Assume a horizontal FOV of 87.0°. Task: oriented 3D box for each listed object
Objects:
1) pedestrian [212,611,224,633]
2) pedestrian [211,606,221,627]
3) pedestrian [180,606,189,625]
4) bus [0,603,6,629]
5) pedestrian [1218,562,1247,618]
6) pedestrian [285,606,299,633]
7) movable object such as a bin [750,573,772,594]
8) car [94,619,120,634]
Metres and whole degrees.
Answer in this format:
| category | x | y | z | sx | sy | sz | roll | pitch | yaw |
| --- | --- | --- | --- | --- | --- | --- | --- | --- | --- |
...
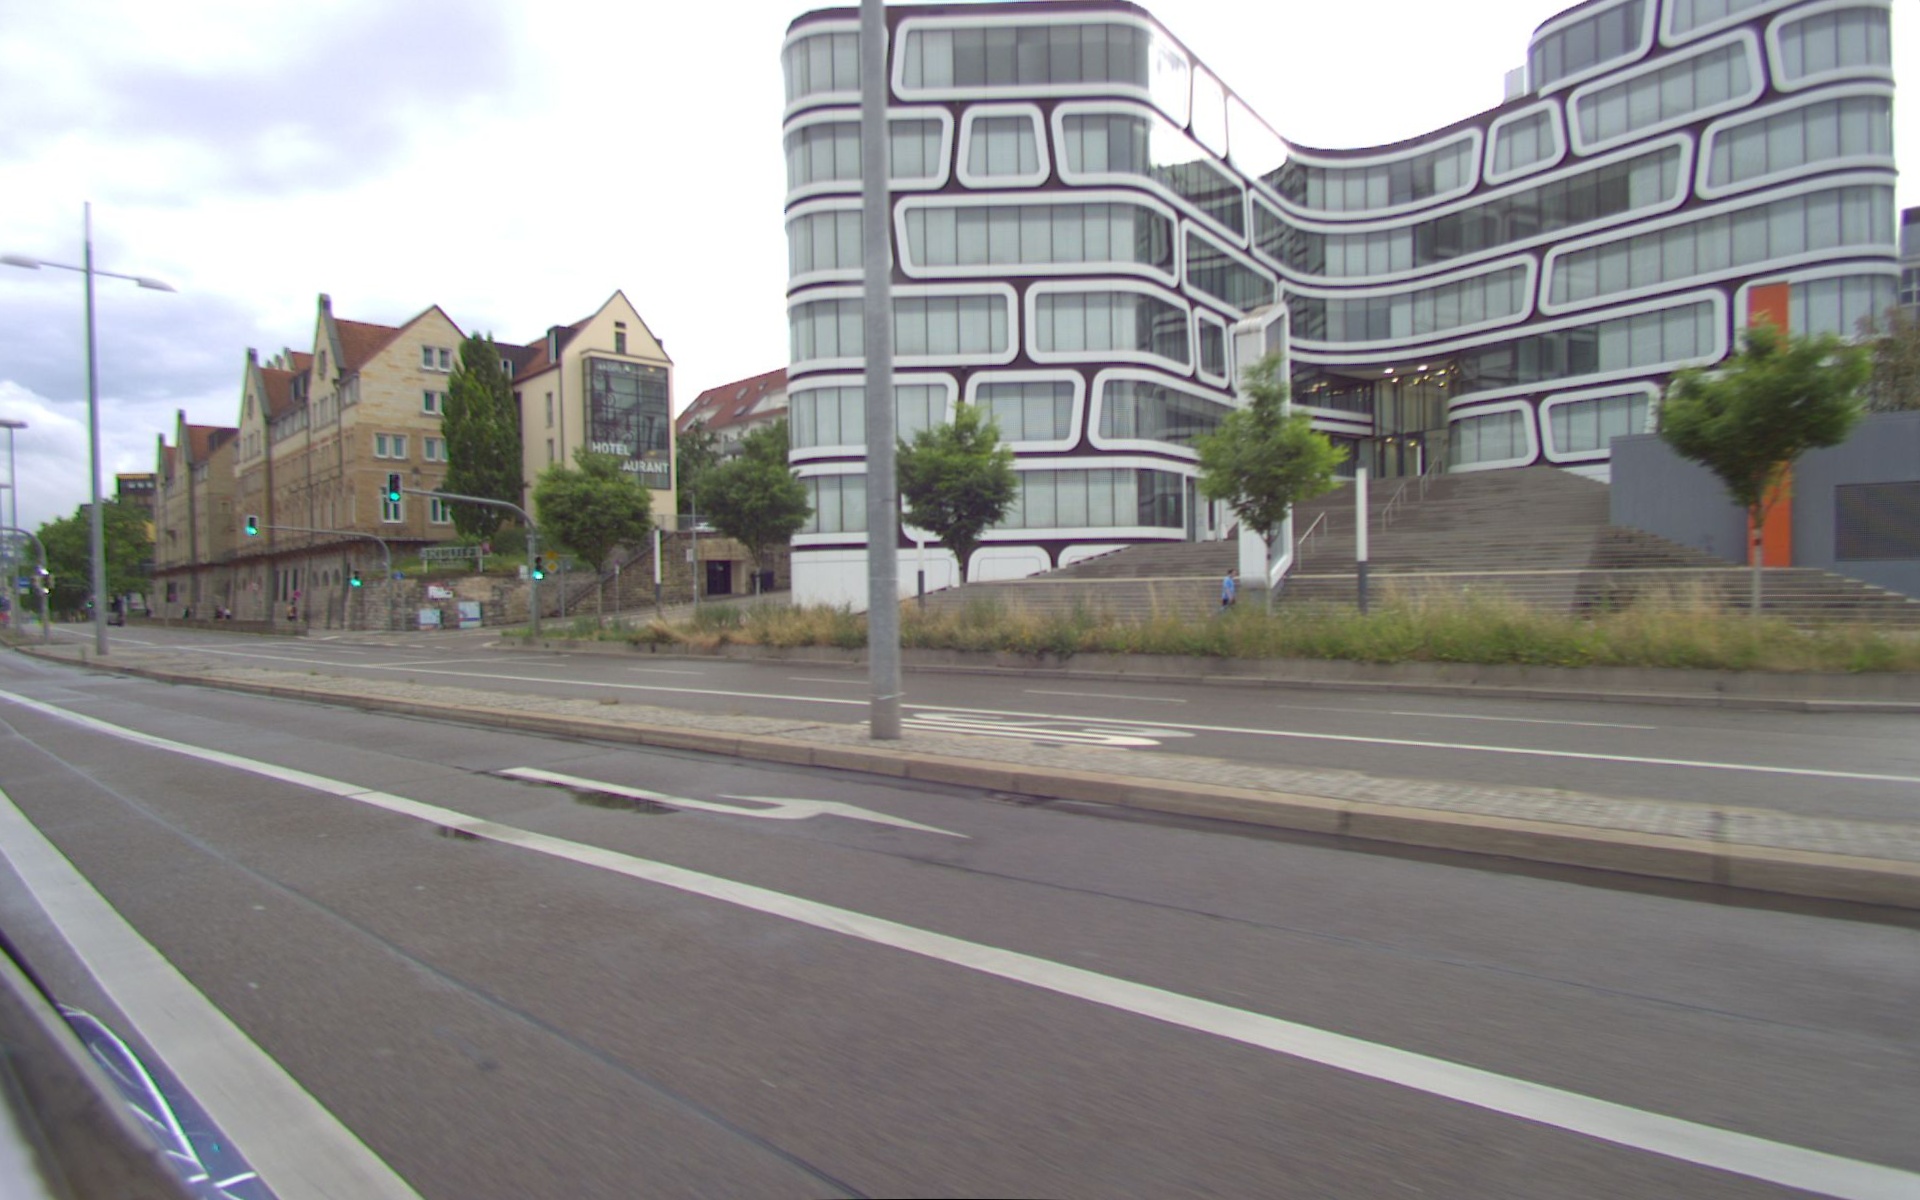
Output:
| category | x | y | z | sx | sy | sz | roll | pitch | yaw |
| --- | --- | --- | --- | --- | --- | --- | --- | --- | --- |
| pedestrian | -61.116 | 1.779 | 83.329 | 0.684 | 1.792 | 0.668 | 0 | 0 | 45 |
| pedestrian | -66.086 | 1.473 | 89.888 | 0.684 | 1.792 | 0.668 | 0 | 0 | 45 |
| pedestrian | -77.492 | 1.548 | 101.119 | 0.684 | 1.792 | 0.668 | 0 | 0 | 45 |
| bus | -157.010 | 2.680 | 164.646 | 2.465 | 3.365 | 8.449 | -1 | -6 | -45 |
| pedestrian | 8.115 | -0.292 | 30.175 | 0.639 | 1.623 | 0.604 | 0 | 0 | 42 |
| pedestrian | -45.204 | 1.296 | 68.527 | 0.684 | 1.792 | 0.668 | 0 | 0 | 45 |
| movable object such as a bin | -13.152 | -1.102 | 66.854 | 1.118 | 1.252 | 0.816 | -3 | 5 | 44 |
| car | -89.285 | 2.767 | 105.912 | 1.691 | 1.475 | 4.002 | -2 | 0 | -45 |
